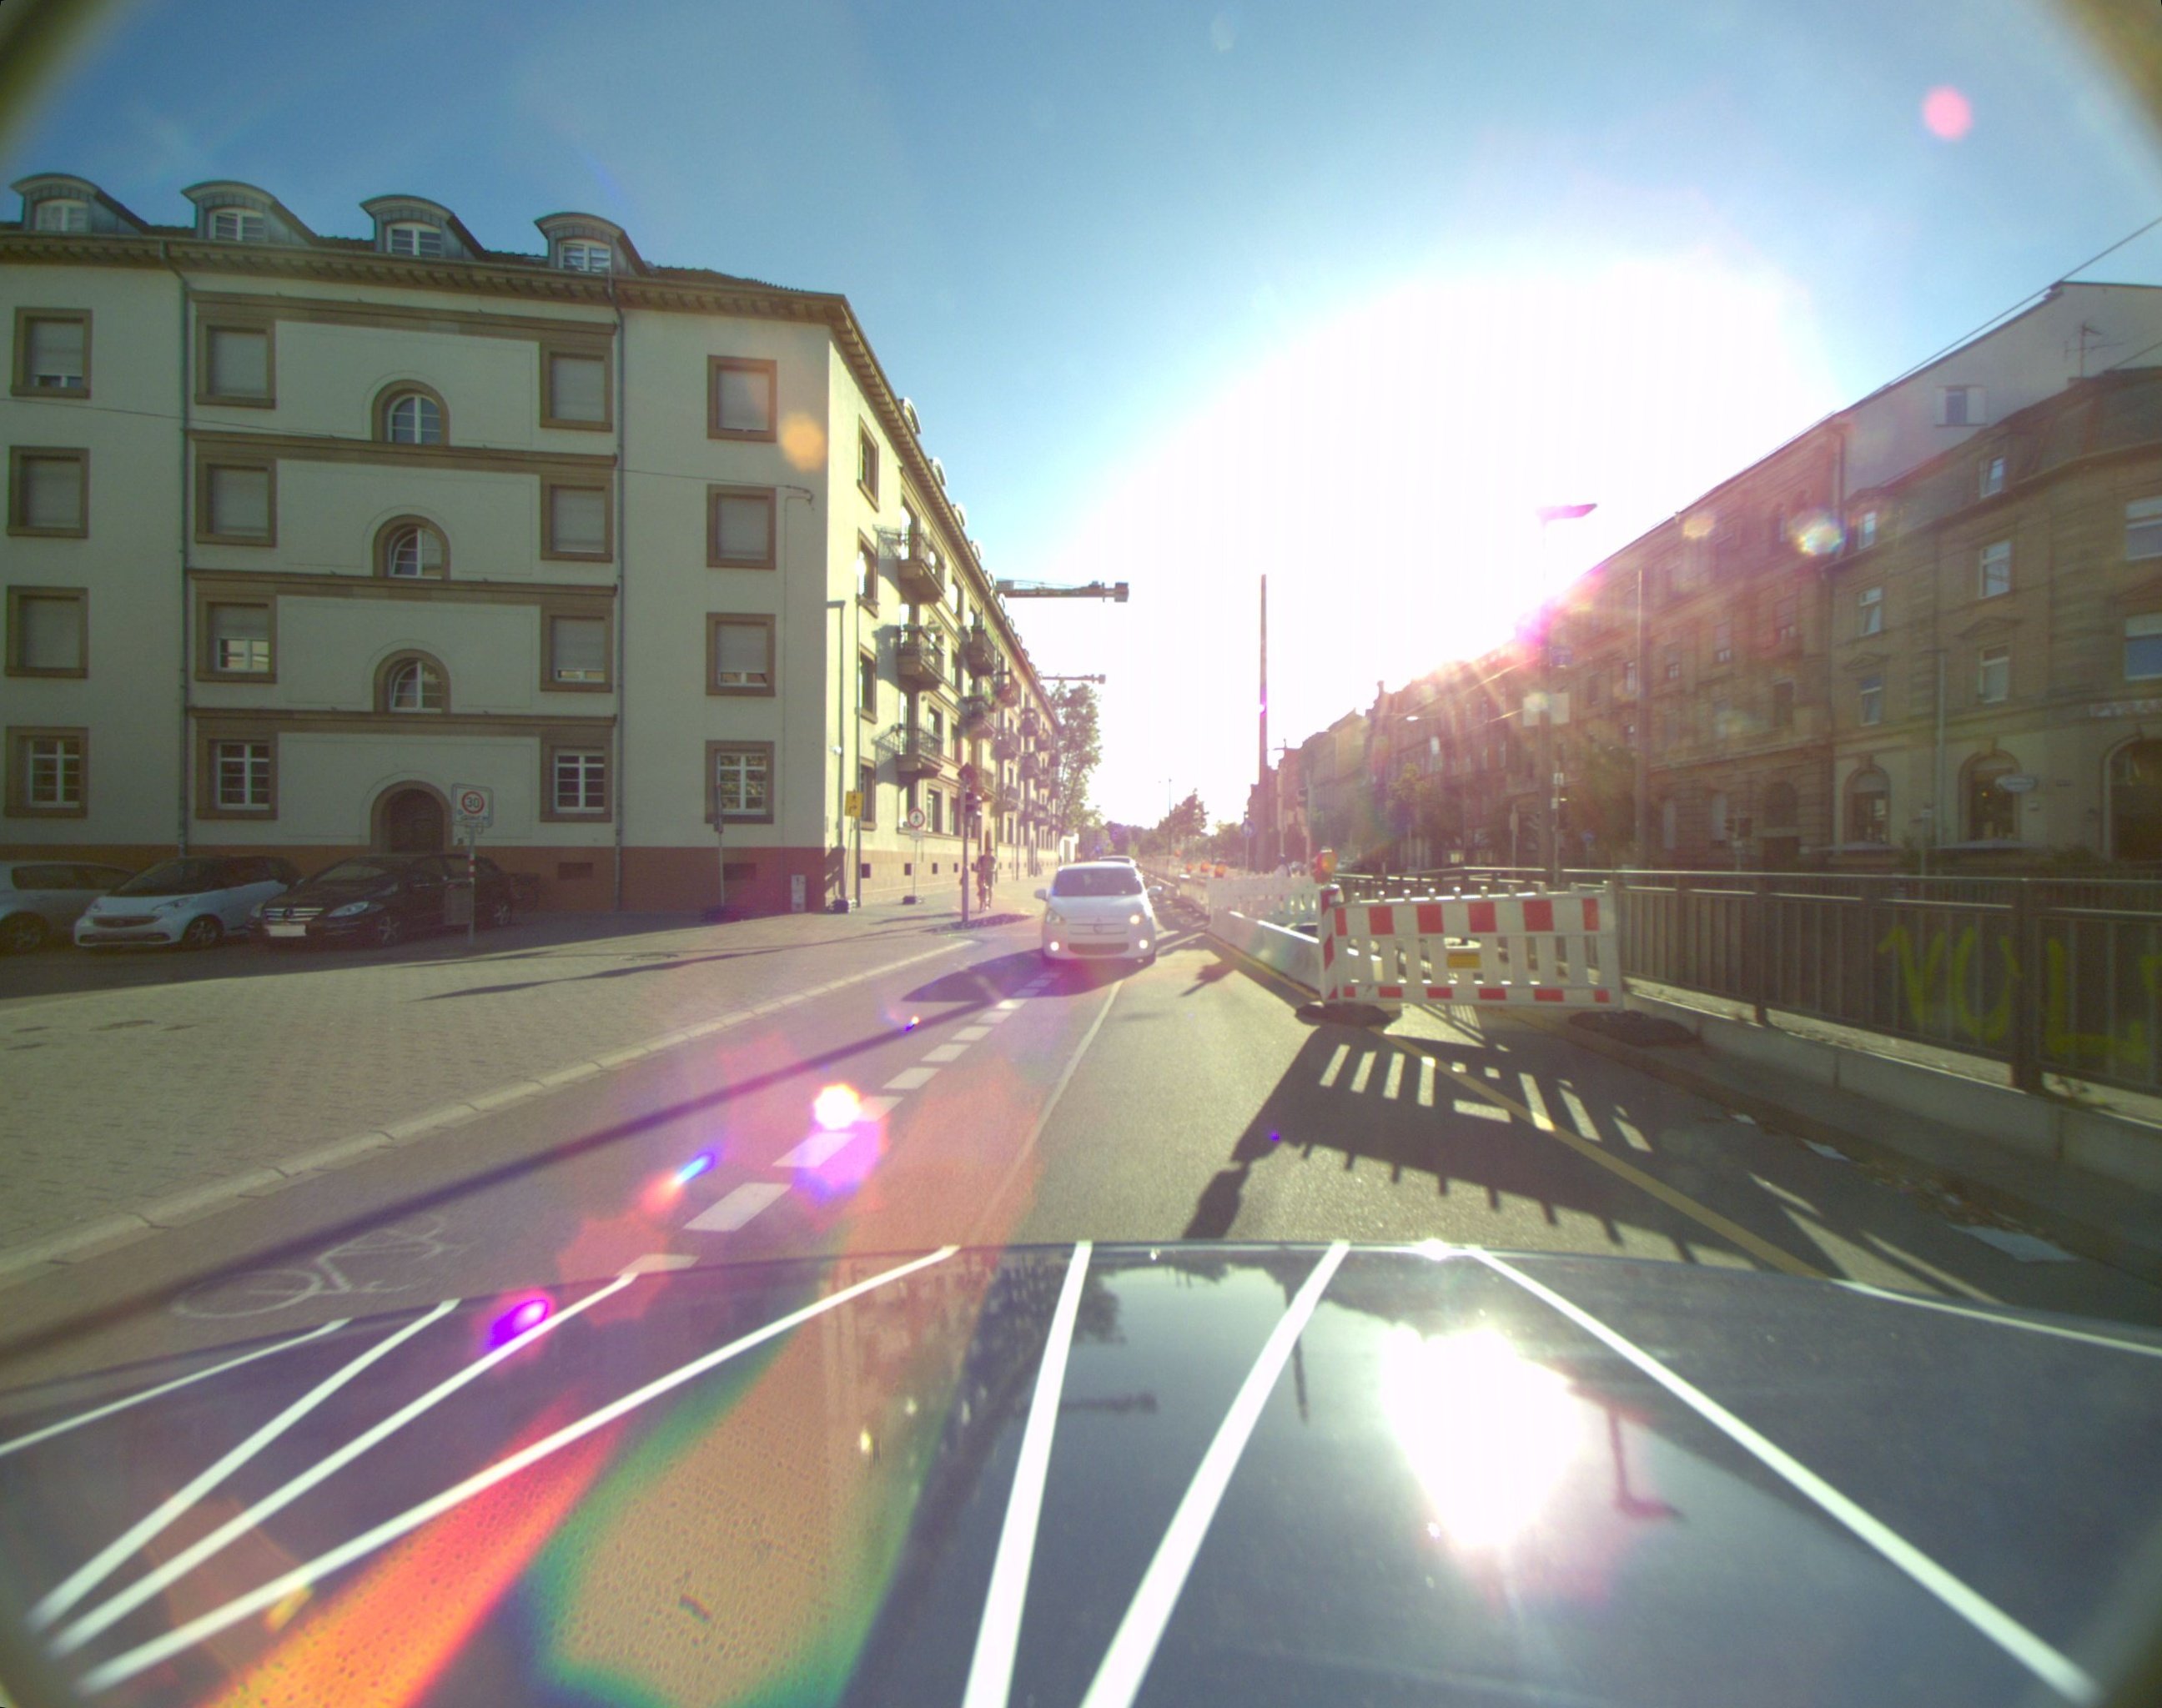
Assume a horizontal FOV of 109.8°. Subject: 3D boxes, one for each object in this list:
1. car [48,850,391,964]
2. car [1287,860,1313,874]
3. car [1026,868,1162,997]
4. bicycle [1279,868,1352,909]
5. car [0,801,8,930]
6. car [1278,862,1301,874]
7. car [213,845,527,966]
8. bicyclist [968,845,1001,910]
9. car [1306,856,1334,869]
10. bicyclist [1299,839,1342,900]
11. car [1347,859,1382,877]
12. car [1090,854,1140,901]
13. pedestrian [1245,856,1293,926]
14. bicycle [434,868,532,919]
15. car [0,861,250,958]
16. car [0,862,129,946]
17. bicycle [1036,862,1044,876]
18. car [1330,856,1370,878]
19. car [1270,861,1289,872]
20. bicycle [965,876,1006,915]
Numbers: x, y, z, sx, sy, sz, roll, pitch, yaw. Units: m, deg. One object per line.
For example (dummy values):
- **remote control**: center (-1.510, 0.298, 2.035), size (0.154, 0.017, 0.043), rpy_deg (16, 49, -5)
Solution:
- **car**: center (-15.272, 0.802, 13.937), size (1.628, 1.677, 4.435), rpy_deg (-1, 1, -8)
- **car**: center (27.428, 1.579, 95.372), size (1.998, 1.688, 4.889), rpy_deg (-2, 0, 2)
- **car**: center (0.291, 0.997, 11.447), size (1.633, 1.499, 4.352), rpy_deg (1, 0, 4)
- **bicycle**: center (6.983, 1.018, 22.591), size (1.999, 1.147, 0.854), rpy_deg (0, 0, -23)
- **car**: center (-22.437, 0.336, 12.342), size (1.929, 2.595, 5.957), rpy_deg (0, 2, -7)
- **car**: center (27.868, 1.839, 101.636), size (1.998, 1.529, 4.986), rpy_deg (-2, 0, 3)
- **car**: center (-12.574, 0.772, 13.952), size (1.697, 1.677, 4.436), rpy_deg (-2, 3, -4)
- **bicyclist**: center (-2.635, 0.632, 20.882), size (0.734, 1.752, 0.938), rpy_deg (0, 0, 3)
- **car**: center (27.391, 0.983, 87.279), size (1.998, 1.429, 4.309), rpy_deg (-2, 0, 2)
- **bicyclist**: center (7.071, 0.442, 22.439), size (0.886, 1.763, 0.854), rpy_deg (0, 0, -23)
- **car**: center (27.076, 1.292, 72.708), size (1.942, 1.648, 4.546), rpy_deg (-2, 0, 5)
- **car**: center (1.424, 0.933, 31.627), size (1.899, 1.730, 4.001), rpy_deg (-3, 0, 3)
- **pedestrian**: center (3.976, 0.766, 16.101), size (0.791, 1.449, 0.947), rpy_deg (0, 0, 1)
- **bicycle**: center (-13.904, 0.901, 17.697), size (1.810, 1.158, 0.406), rpy_deg (0, 2, -10)
- **car**: center (-17.783, 0.904, 13.406), size (1.698, 1.421, 4.436), rpy_deg (-2, 1, -7)
- **car**: center (-20.272, 0.950, 13.370), size (1.697, 1.470, 4.436), rpy_deg (-2, 1, -6)
- **bicycle**: center (-3.311, 1.203, 61.629), size (0.419, 1.089, 2.199), rpy_deg (0, 0, 3)
- **car**: center (20.880, 1.013, 59.165), size (1.800, 1.630, 4.478), rpy_deg (0, 0, 4)
- **car**: center (28.279, 1.754, 108.311), size (1.752, 1.470, 4.029), rpy_deg (-2, 0, 3)
- **bicycle**: center (-2.619, 1.126, 21.077), size (0.769, 0.947, 2.198), rpy_deg (0, 0, 3)
